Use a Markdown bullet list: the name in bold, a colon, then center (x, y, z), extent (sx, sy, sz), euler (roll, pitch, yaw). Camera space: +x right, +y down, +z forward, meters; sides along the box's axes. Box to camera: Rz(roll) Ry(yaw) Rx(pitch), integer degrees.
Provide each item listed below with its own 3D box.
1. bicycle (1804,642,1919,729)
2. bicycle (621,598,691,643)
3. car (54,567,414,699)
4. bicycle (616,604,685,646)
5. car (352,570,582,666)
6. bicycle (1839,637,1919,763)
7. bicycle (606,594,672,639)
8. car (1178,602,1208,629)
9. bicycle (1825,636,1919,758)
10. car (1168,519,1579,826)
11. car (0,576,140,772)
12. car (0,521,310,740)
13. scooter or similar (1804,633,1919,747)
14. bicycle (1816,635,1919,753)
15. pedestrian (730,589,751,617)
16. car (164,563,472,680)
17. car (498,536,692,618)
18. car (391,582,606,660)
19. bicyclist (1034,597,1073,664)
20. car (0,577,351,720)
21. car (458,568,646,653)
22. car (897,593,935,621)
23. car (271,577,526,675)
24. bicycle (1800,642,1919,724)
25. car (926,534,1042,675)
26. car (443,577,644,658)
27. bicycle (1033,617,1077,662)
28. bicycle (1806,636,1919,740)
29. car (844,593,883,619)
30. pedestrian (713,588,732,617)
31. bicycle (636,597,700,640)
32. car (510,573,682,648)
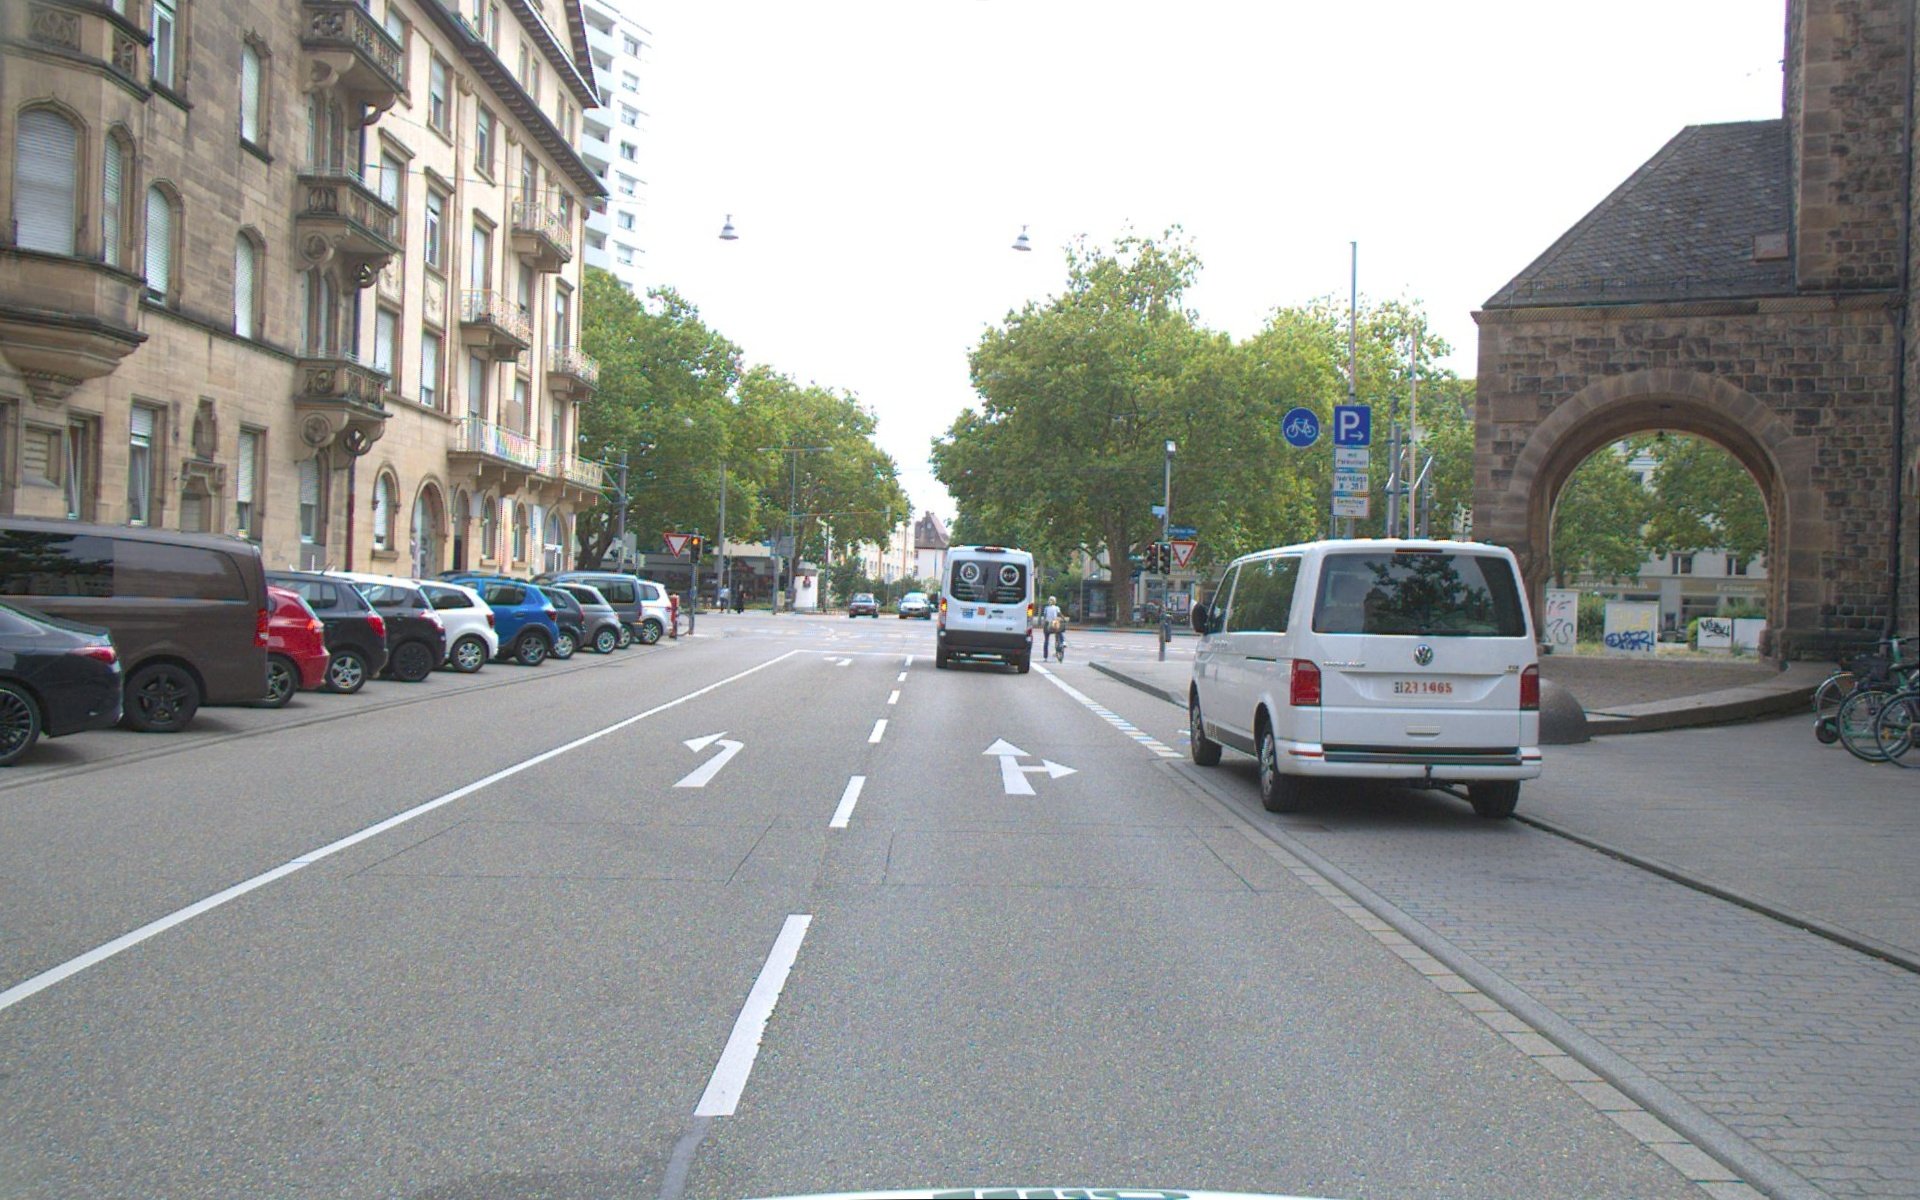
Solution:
- **bicycle**: center (11.053, 1.010, 19.651), extent (1.739, 0.974, 0.546), euler (1, 0, 18)
- **bicycle**: center (-8.655, 0.582, 47.151), extent (1.772, 1.139, 0.594), euler (5, 0, 3)
- **car**: center (-9.224, 0.419, 21.142), extent (3.952, 1.529, 1.611), euler (2, 0, -36)
- **bicycle**: center (-8.701, 0.703, 46.479), extent (1.771, 1.140, 0.594), euler (1, 0, 6)
- **car**: center (-9.175, 0.352, 30.891), extent (3.738, 1.680, 1.702), euler (2, 0, -37)
- **bicycle**: center (9.181, 0.938, 15.332), extent (1.739, 1.131, 0.546), euler (1, 0, 18)
- **bicycle**: center (-9.277, 0.480, 47.882), extent (1.776, 1.186, 0.593), euler (4, -1, -9)
- **car**: center (17.583, 1.134, 124.897), extent (1.952, 1.964, 4.002), euler (1, 0, 4)
- **bicycle**: center (9.369, 0.942, 15.955), extent (1.732, 1.131, 0.546), euler (1, 0, 18)
- **car**: center (3.123, 0.460, 13.749), extent (1.974, 2.064, 5.122), euler (0, 1, -2)
- **car**: center (-8.905, 0.447, 12.354), extent (4.627, 1.433, 1.873), euler (5, 0, -40)
- **car**: center (-9.100, 0.250, 15.556), extent (5.210, 1.943, 2.095), euler (2, 0, -36)
- **scooter or similar**: center (10.029, 0.958, 17.648), extent (1.739, 1.160, 0.546), euler (1, 0, 18)
- **bicycle**: center (9.580, 0.946, 16.535), extent (1.739, 1.131, 0.546), euler (1, 0, 18)
- **pedestrian**: center (-12.320, 0.182, 92.901), extent (0.910, 1.541, 0.724), euler (2, 0, 14)
- **car**: center (-9.462, 0.330, 24.461), extent (3.962, 1.592, 1.776), euler (2, 0, -33)
- **car**: center (-19.044, -1.231, 86.231), extent (9.688, 3.984, 3.453), euler (2, 0, 24)
- **car**: center (-9.413, 0.441, 33.836), extent (3.861, 1.469, 1.813), euler (2, 0, -37)
- **bicyclist**: center (2.419, 0.790, 42.982), extent (0.886, 1.713, 0.756), euler (2, 0, -4)
- **car**: center (-9.106, 0.512, 18.445), extent (3.978, 1.434, 1.769), euler (2, 0, -42)
- **car**: center (-9.692, 0.275, 39.447), extent (3.974, 1.911, 1.771), euler (2, 0, -40)
- **car**: center (-2.629, 0.389, 99.104), extent (1.696, 1.620, 4.003), euler (1, 0, 7)
- **car**: center (-9.303, 0.433, 27.493), extent (3.646, 1.507, 1.719), euler (2, 0, -37)
- **bicycle**: center (11.316, 1.006, 20.274), extent (1.739, 0.974, 0.546), euler (-1, -1, 18)
- **car**: center (0.440, 0.062, 35.674), extent (2.138, 2.693, 4.627), euler (4, 1, -2)
- **car**: center (-9.266, 0.407, 36.934), extent (3.974, 1.680, 1.771), euler (2, 0, -40)
- **bicycle**: center (2.443, 1.016, 42.797), extent (0.885, 1.094, 1.969), euler (2, 0, -3)
- **bicycle**: center (10.636, 1.000, 18.790), extent (1.739, 1.131, 0.546), euler (1, 0, 18)
- **car**: center (-5.811, 0.360, 100.012), extent (1.586, 1.502, 4.003), euler (1, 0, 7)
- **pedestrian**: center (-13.336, 0.145, 92.973), extent (0.790, 1.600, 0.724), euler (1, 0, 13)
- **bicycle**: center (-8.888, 0.552, 50.313), extent (1.837, 1.187, 0.498), euler (4, -1, 20)
- **car**: center (-9.402, 0.282, 42.834), extent (3.974, 1.804, 1.771), euler (2, 0, -40)
